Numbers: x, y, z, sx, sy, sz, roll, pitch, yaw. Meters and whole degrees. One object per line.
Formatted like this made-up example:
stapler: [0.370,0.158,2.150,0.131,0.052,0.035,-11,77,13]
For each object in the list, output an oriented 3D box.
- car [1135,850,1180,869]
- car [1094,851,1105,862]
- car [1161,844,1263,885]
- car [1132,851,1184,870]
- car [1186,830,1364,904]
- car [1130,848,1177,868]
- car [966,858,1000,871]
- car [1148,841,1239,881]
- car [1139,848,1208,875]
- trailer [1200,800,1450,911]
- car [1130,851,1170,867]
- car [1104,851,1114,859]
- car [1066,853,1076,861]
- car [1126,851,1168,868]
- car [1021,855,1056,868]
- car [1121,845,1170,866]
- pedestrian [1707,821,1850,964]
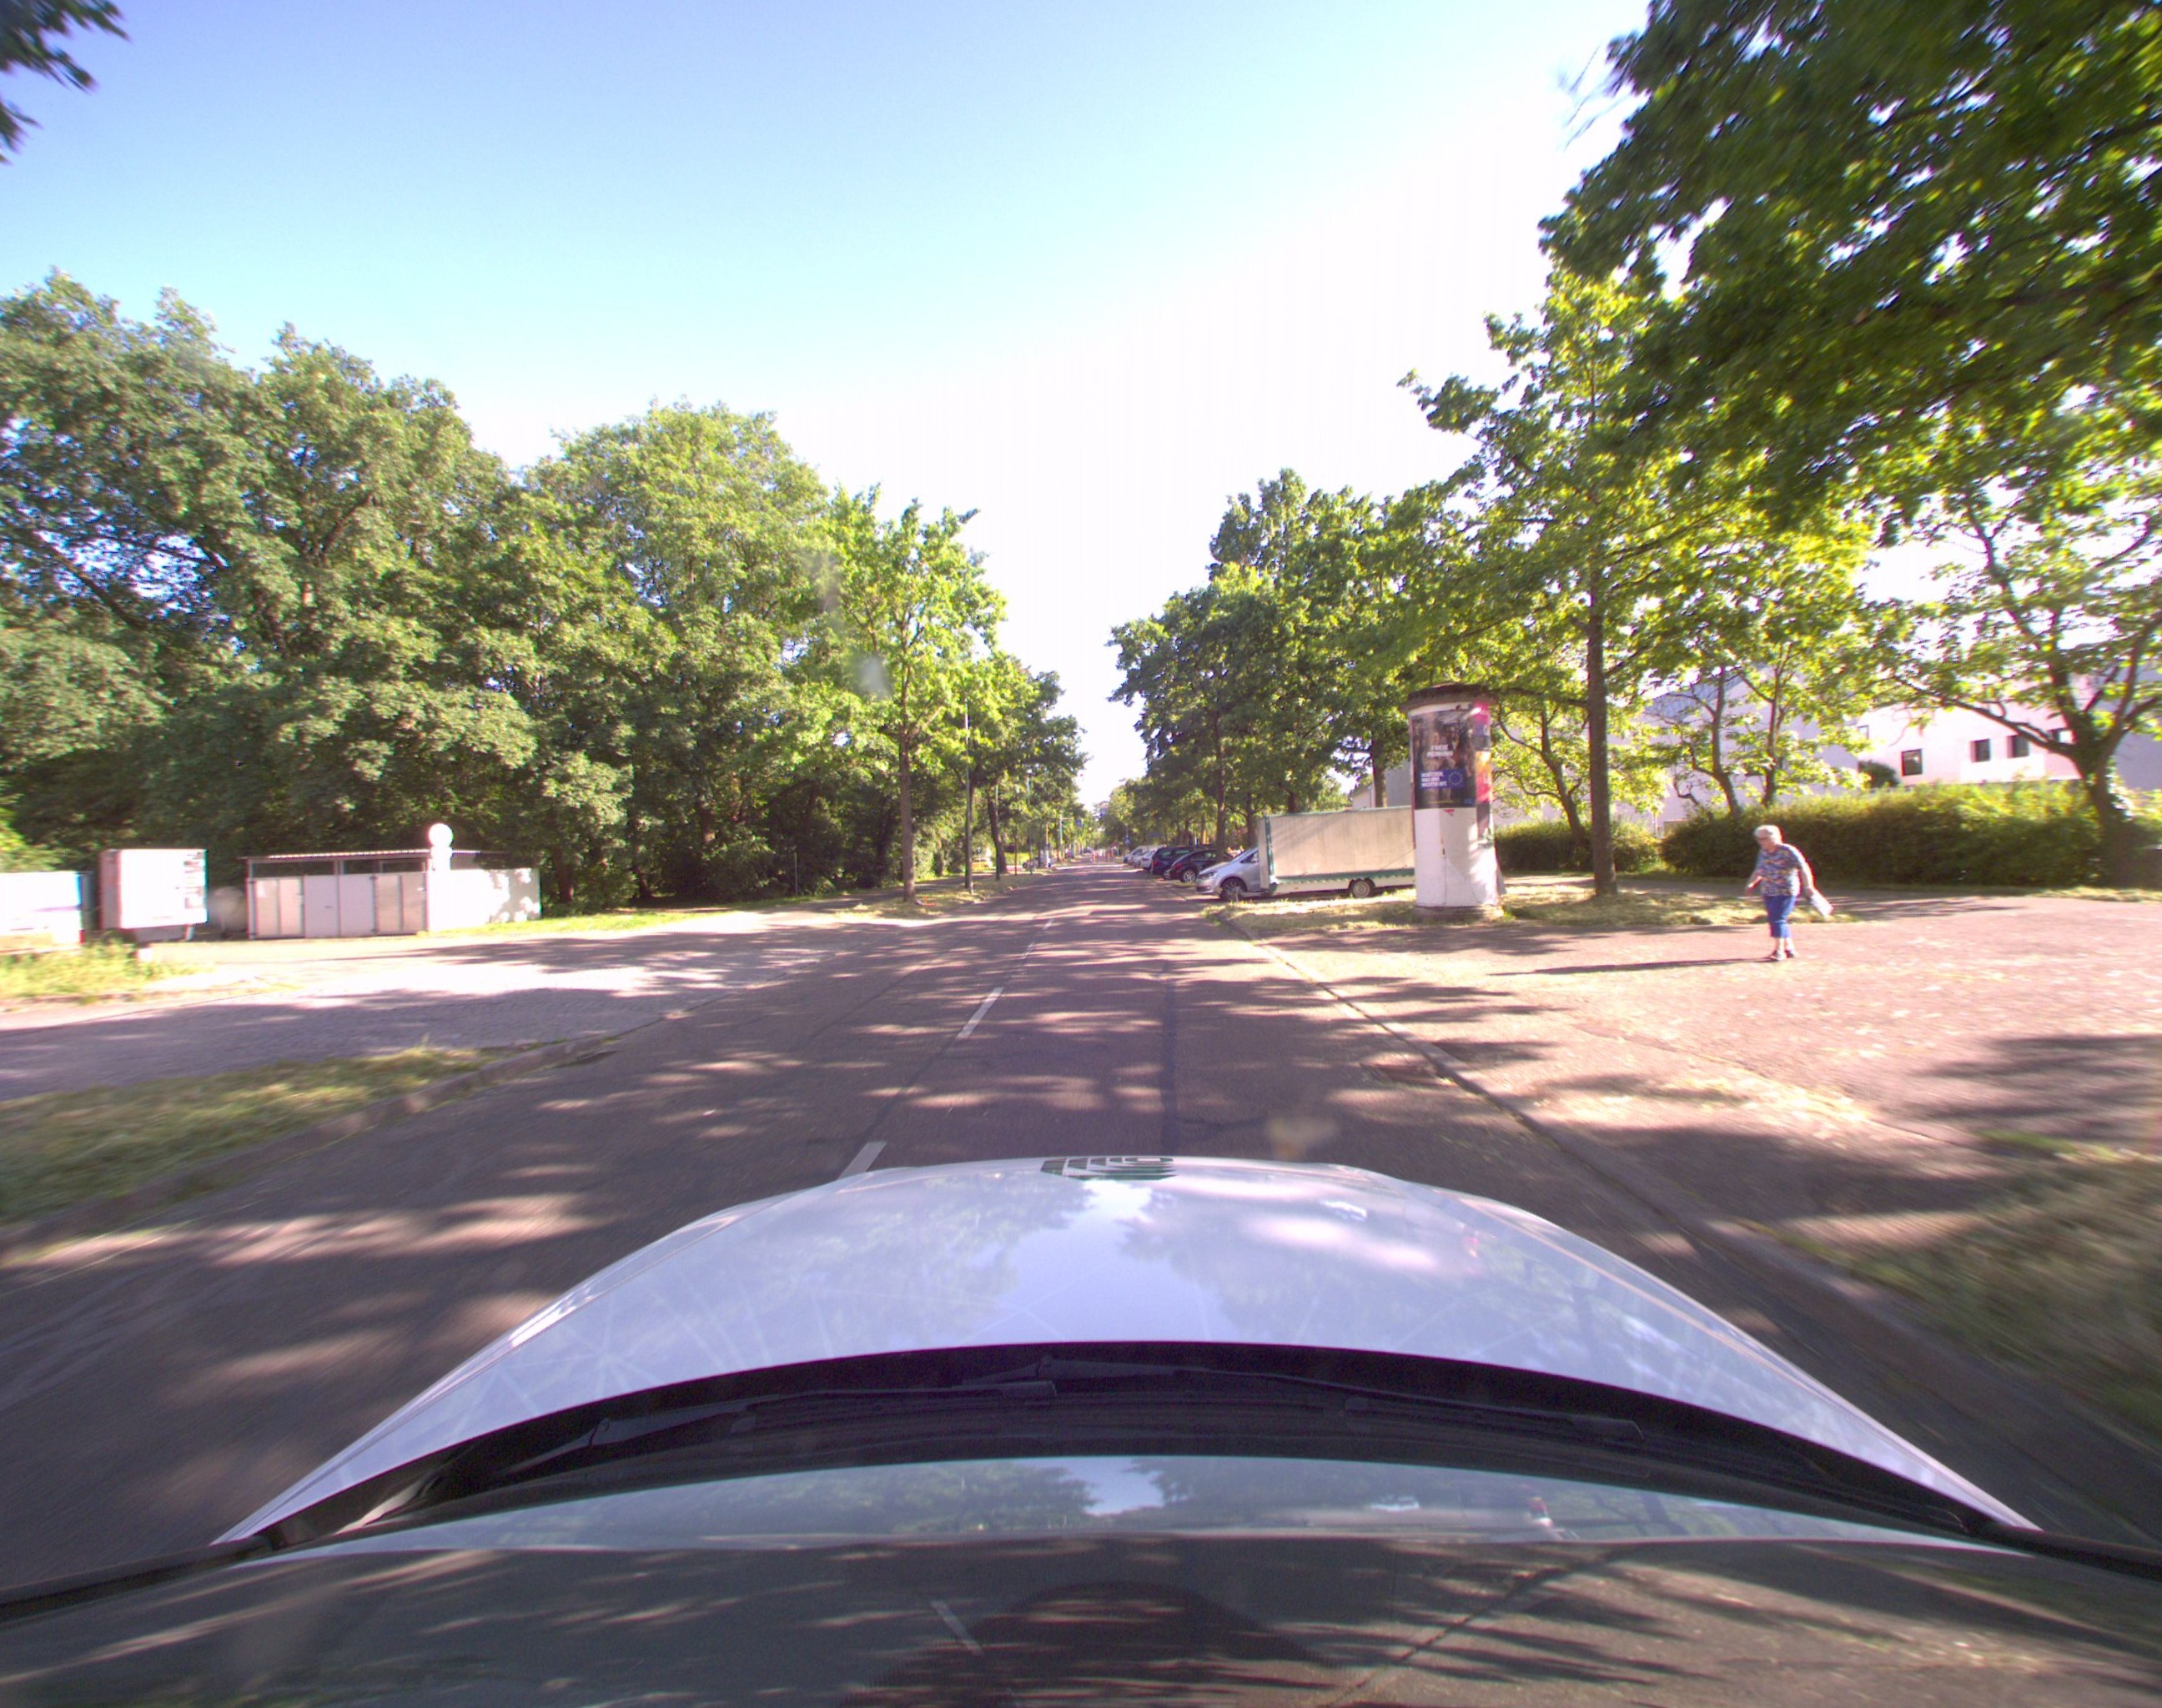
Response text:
car: [7.073,0.506,75.552,3.872,1.497,1.777,-4,0,0]
car: [3.290,0.495,146.541,1.987,1.933,4.000,-2,0,1]
car: [5.807,0.462,36.549,4.229,1.519,2.079,-3,0,2]
car: [6.843,0.578,72.615,4.429,1.390,1.911,-3,0,1]
car: [5.502,0.360,23.602,4.624,1.722,1.988,-4,0,2]
car: [7.096,0.364,80.220,4.371,1.651,1.850,-4,0,-1]
car: [-12.831,1.366,106.540,3.967,1.655,2.003,-2,0,5]
car: [5.879,0.378,43.133,4.514,1.801,1.937,-3,0,1]
car: [6.475,0.517,57.408,4.653,1.580,1.917,-4,0,1]
trailer: [6.090,0.035,20.829,5.751,2.317,1.687,-4,0,3]
car: [6.958,0.527,82.648,3.971,1.433,1.902,-2,0,2]
car: [5.763,0.200,167.345,1.987,1.716,4.000,-2,0,1]
car: [-2.170,0.666,173.617,1.987,1.716,4.000,-2,0,1]
car: [6.891,0.553,85.110,4.200,1.568,1.933,-2,0,-1]
car: [-5.440,0.913,104.204,3.960,1.484,2.007,-2,0,12]
car: [7.180,0.191,90.534,5.171,2.105,2.082,-3,0,-1]
pedestrian: [8.006,0.417,9.365,0.945,1.500,0.878,-4,0,-24]
